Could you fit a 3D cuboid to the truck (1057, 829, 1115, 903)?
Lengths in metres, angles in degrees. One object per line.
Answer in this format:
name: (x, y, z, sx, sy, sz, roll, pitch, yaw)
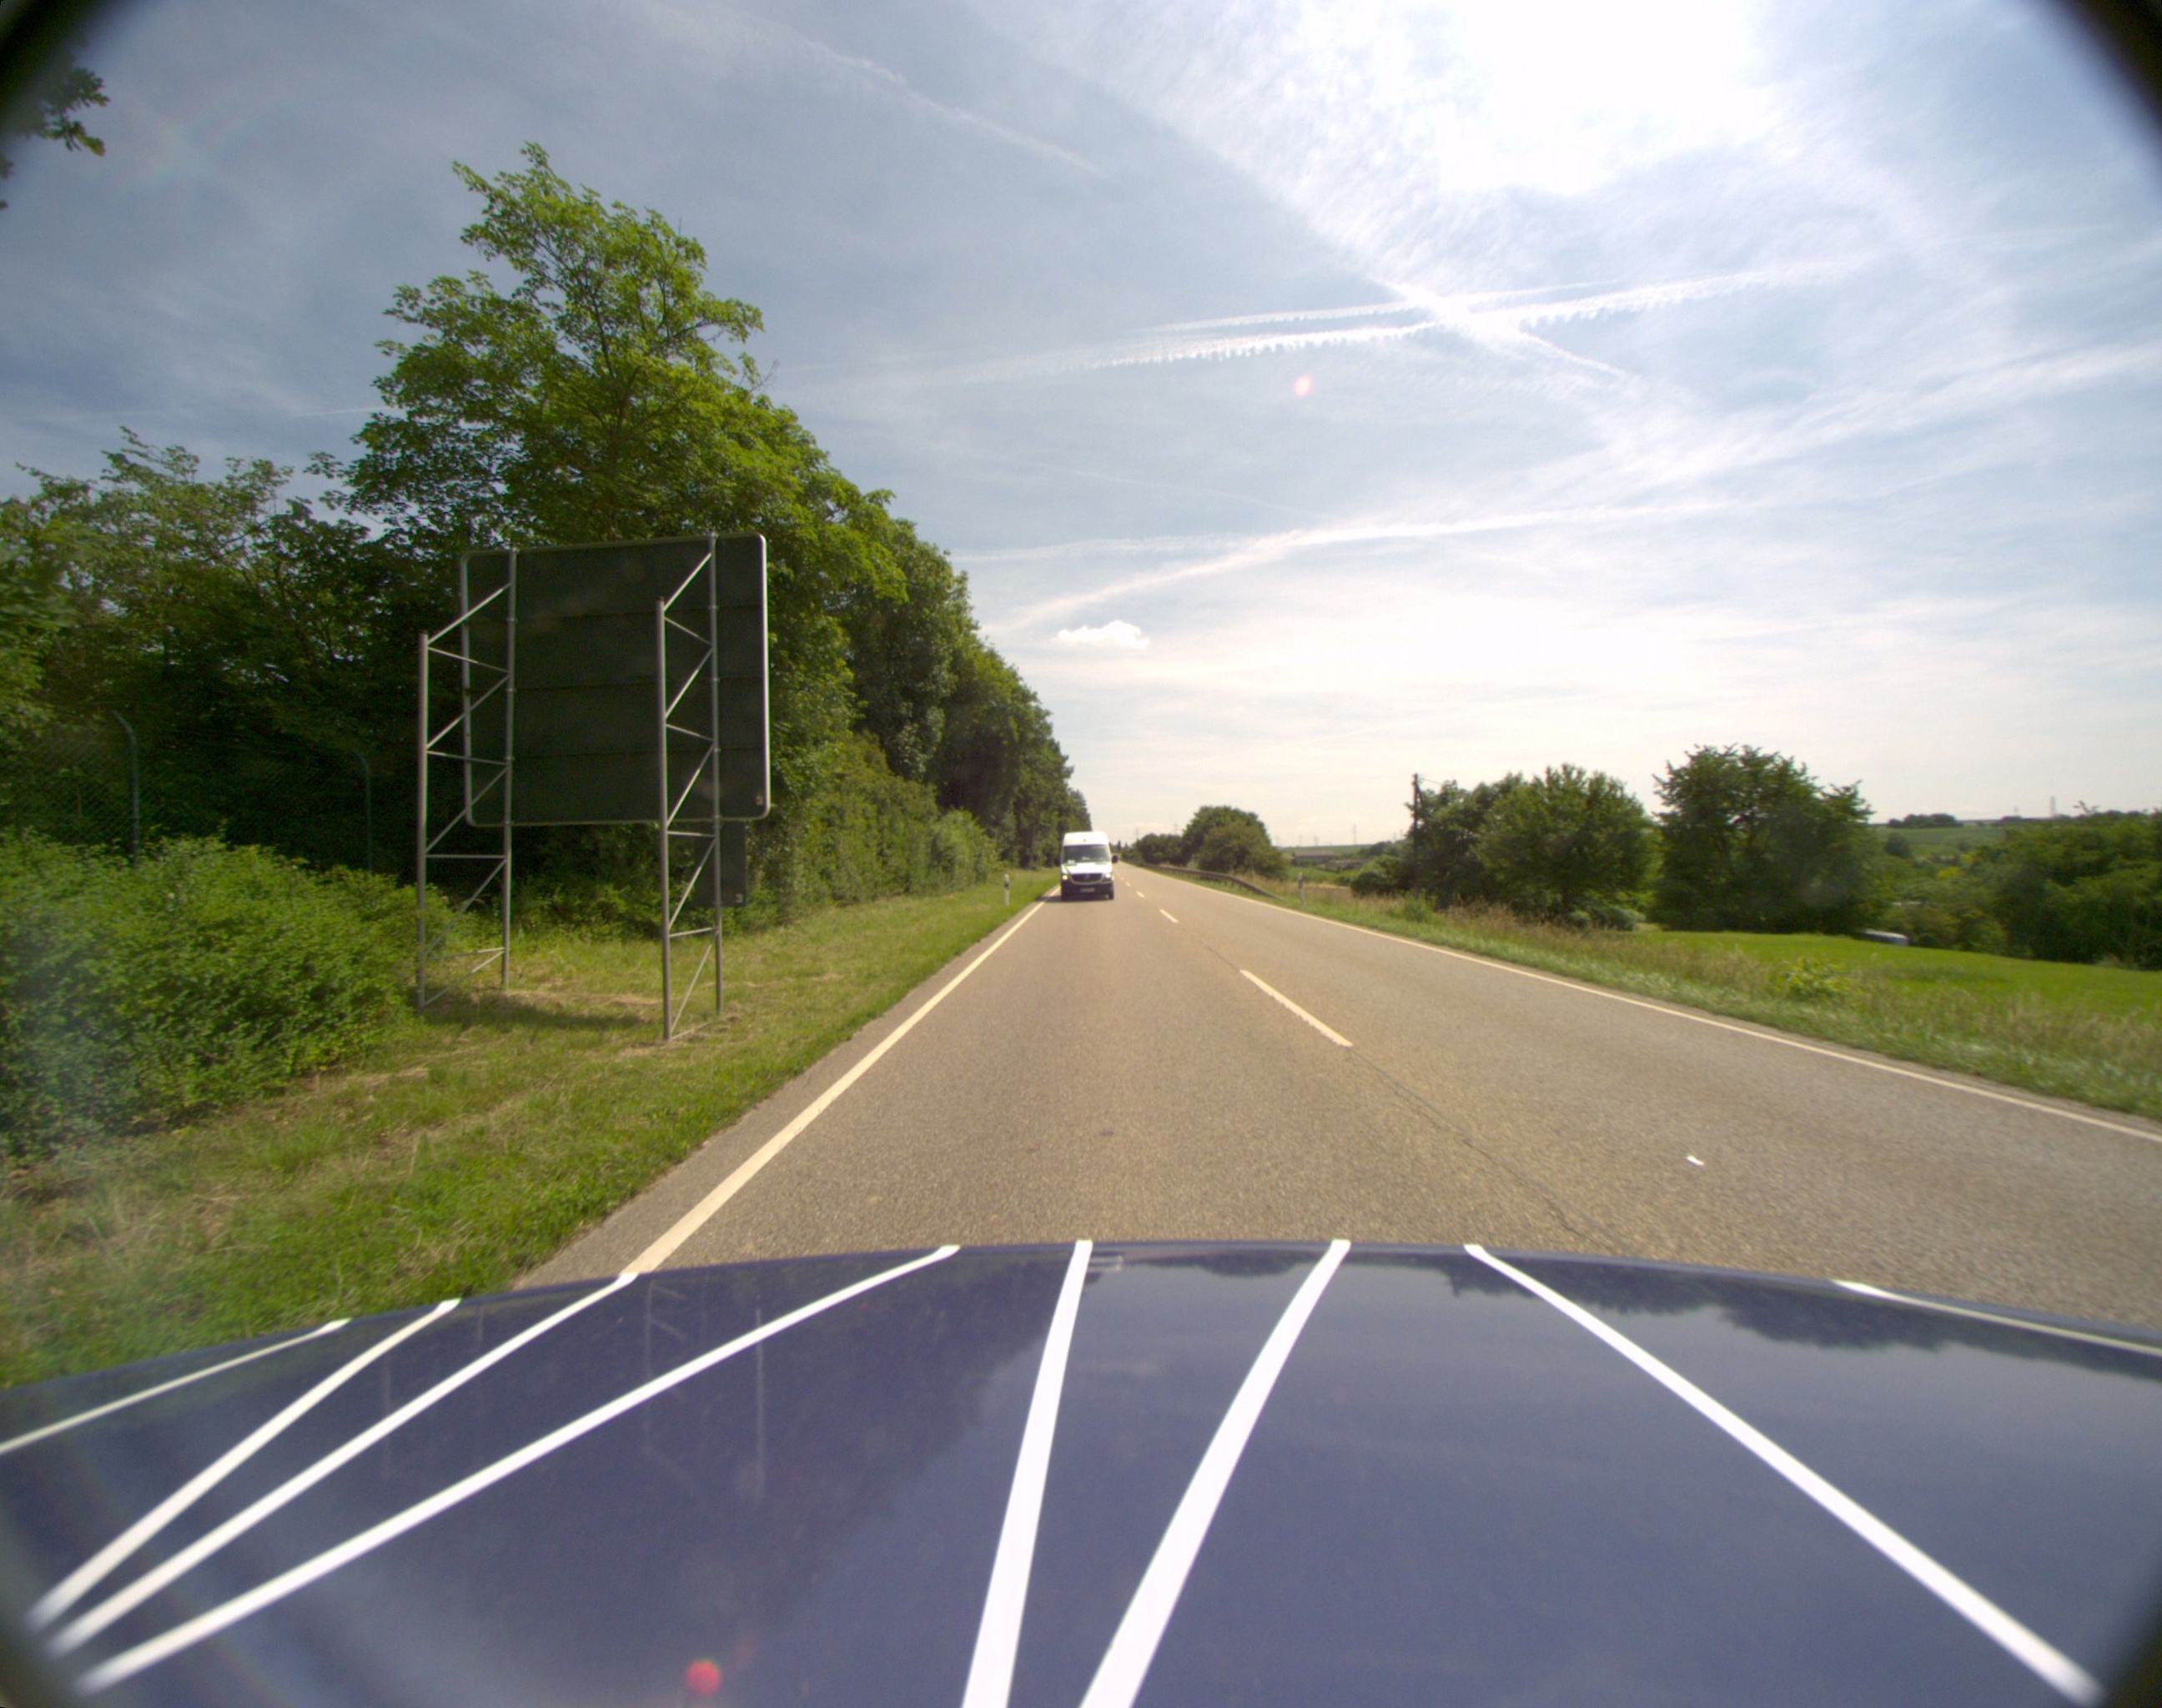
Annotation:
truck: (0.328, 0.427, 30.599, 2.022, 2.567, 7.226, -2, 0, 2)
